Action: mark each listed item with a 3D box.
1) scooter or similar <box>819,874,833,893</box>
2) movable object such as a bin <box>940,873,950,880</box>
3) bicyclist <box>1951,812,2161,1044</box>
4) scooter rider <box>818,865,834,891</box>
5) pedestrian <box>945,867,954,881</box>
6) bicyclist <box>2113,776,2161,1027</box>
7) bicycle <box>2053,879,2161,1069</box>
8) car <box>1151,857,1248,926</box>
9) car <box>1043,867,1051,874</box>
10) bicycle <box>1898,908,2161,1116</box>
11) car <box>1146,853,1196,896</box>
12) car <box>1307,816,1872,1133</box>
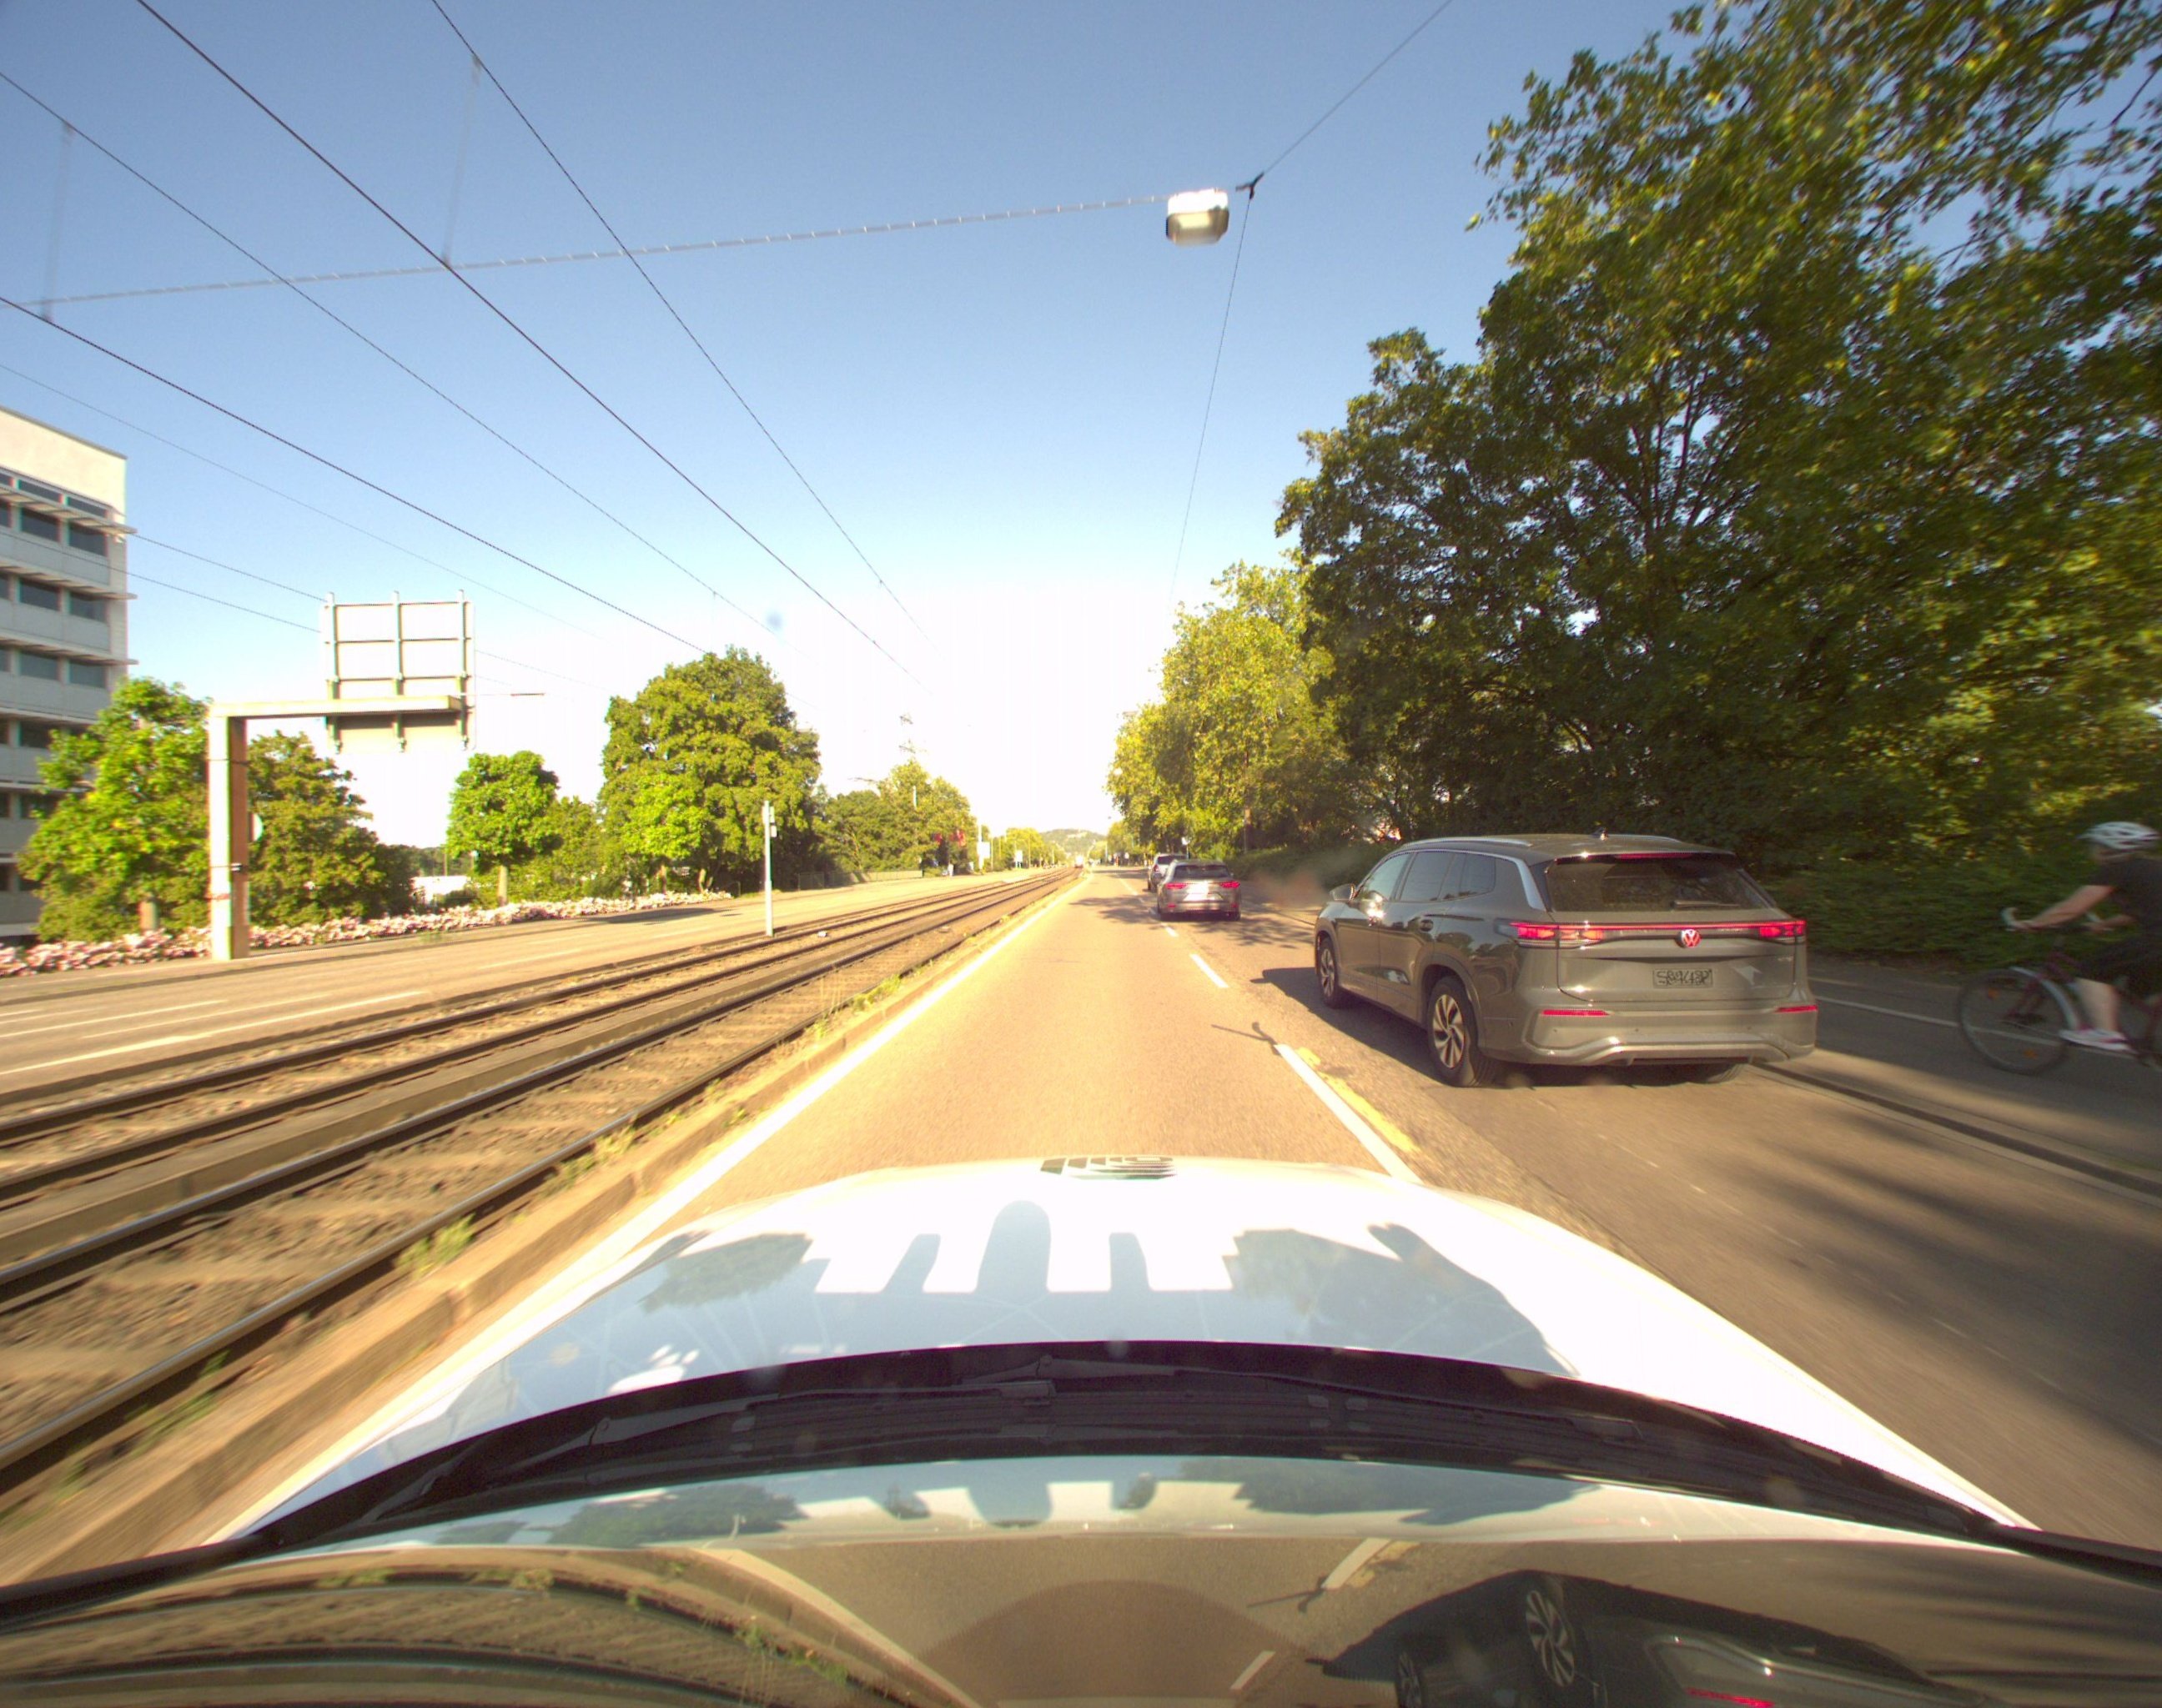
[{"bbox_3d":[-18.506,2.145,59.174,0.469,1.296,1.265,-2,-1,8],"label":"scooter or similar"},{"bbox_3d":[-17.627,2.954,105.743,0.718,0.961,1.107,0,-2,23],"label":"movable object such as a bin"},{"bbox_3d":[5.894,0.383,4.754,0.639,1.226,0.891,-2,0,1],"label":"bicyclist"},{"bbox_3d":[-18.499,1.742,59.183,0.678,1.848,1.003,-2,-1,9],"label":"scooter rider"},{"bbox_3d":[-17.246,2.615,106.644,0.718,1.756,0.840,0,-2,23],"label":"pedestrian"},{"bbox_3d":[6.833,0.280,4.664,0.683,1.509,0.891,-1,0,1],"label":"bicyclist"},{"bbox_3d":[6.849,0.736,4.574,0.620,1.120,1.813,-1,0,1],"label":"bicycle"},{"bbox_3d":[2.808,0.860,20.315,1.859,1.467,4.667,-1,-1,2],"label":"car"},{"bbox_3d":[-9.787,4.740,235.509,1.856,1.720,4.000,-1,0,1],"label":"car"},{"bbox_3d":[5.900,0.867,4.695,0.563,0.974,1.788,-3,-1,1],"label":"bicycle"},{"bbox_3d":[3.976,0.855,36.543,1.877,1.796,4.000,0,0,0],"label":"car"},{"bbox_3d":[3.300,0.658,6.531,1.838,1.661,4.440,0,-1,1],"label":"car"}]
